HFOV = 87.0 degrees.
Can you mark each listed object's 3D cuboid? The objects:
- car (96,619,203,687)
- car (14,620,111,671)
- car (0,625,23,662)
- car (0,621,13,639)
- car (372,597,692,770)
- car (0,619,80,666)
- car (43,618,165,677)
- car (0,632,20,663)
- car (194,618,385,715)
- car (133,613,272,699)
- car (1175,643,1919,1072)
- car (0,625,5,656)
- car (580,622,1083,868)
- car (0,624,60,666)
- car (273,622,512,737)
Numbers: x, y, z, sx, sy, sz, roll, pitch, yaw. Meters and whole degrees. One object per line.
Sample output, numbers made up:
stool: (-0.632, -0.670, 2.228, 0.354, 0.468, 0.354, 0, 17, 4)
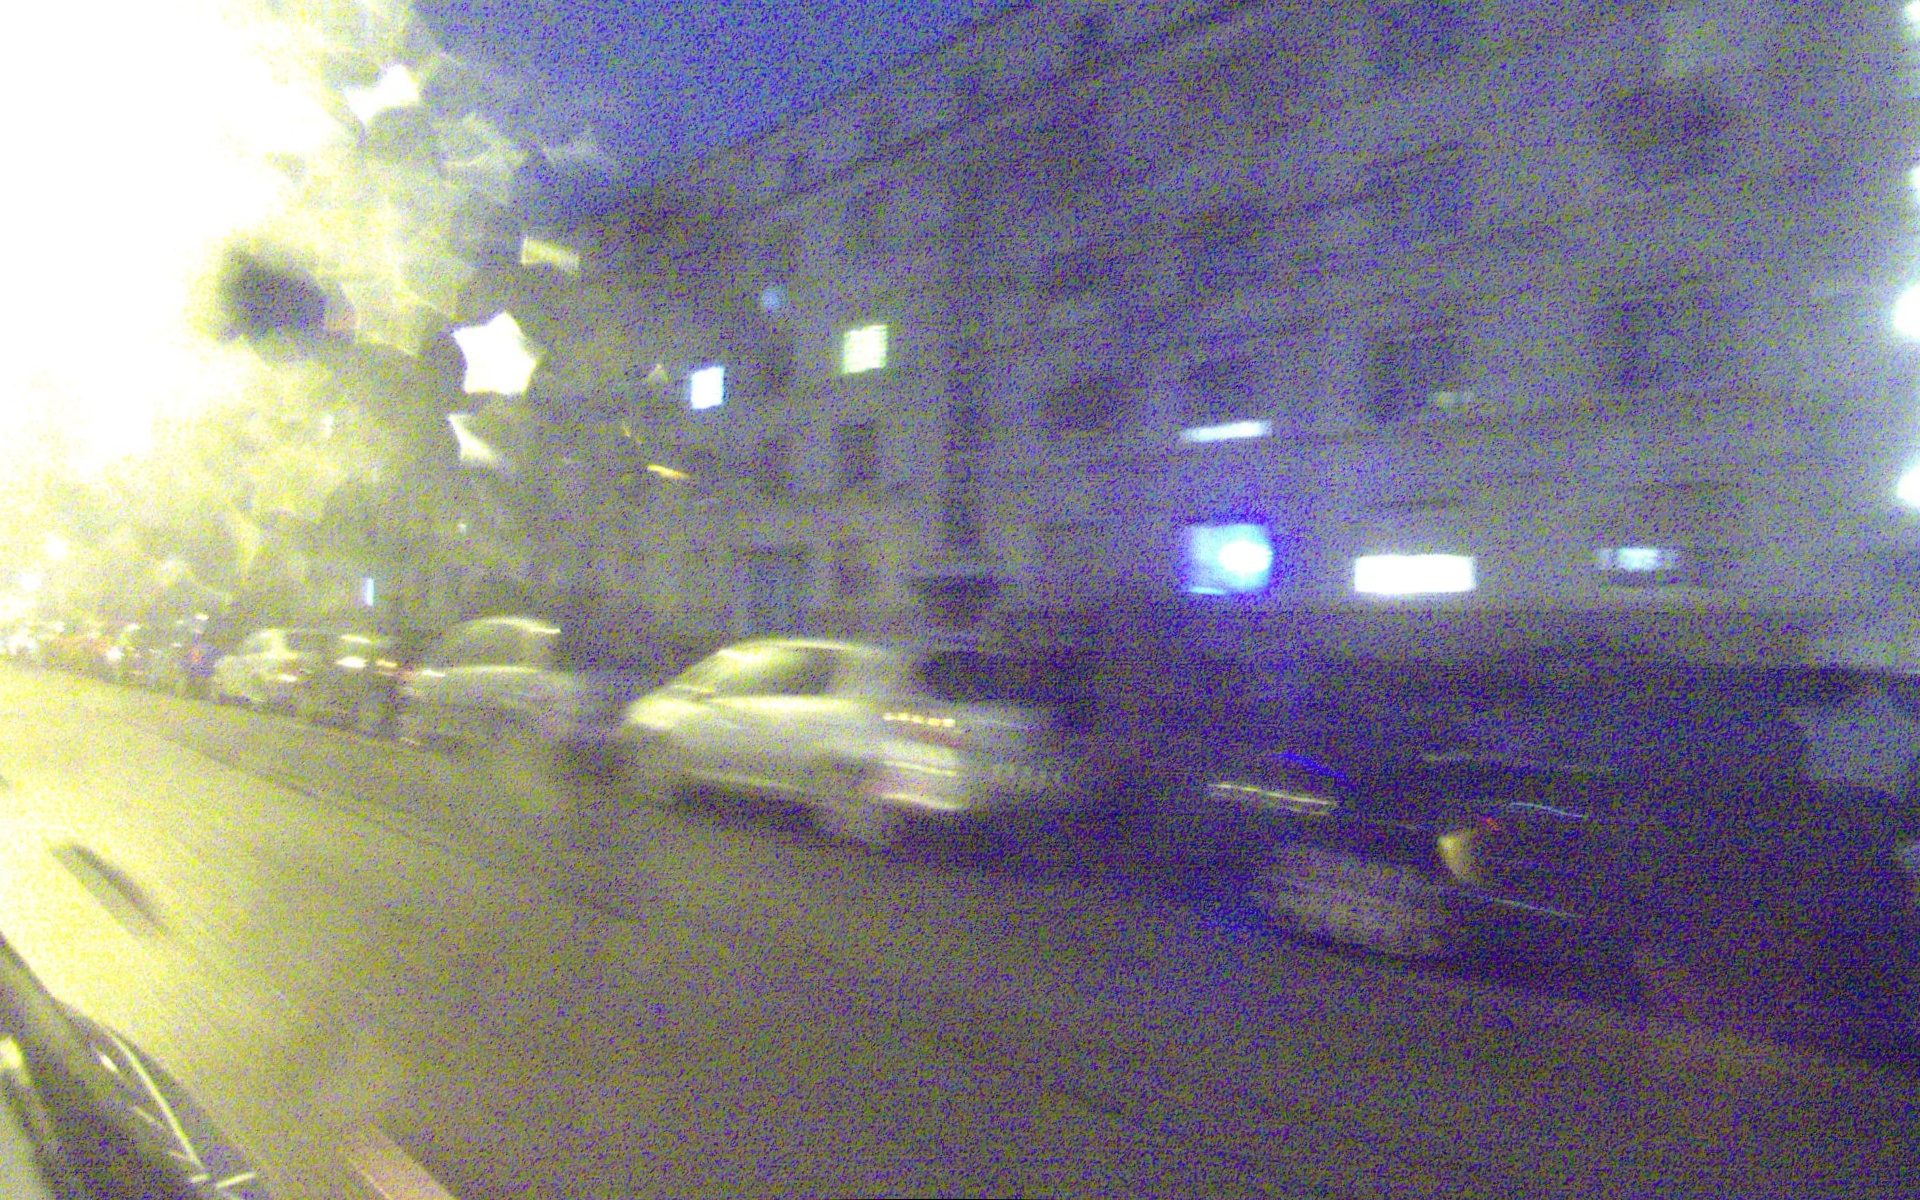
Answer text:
car: (-19.596, 1.268, 24.430, 3.374, 1.471, 1.416, -1, -6, 43)
car: (-29.876, 1.497, 33.651, 4.387, 1.551, 1.649, -1, -6, 40)
car: (-42.350, 1.883, 44.188, 4.390, 1.551, 1.647, -1, -5, 43)
car: (-95.625, 2.819, 98.700, 4.472, 1.719, 1.855, 4, -4, -34)
car: (-5.000, 0.893, 11.540, 4.257, 1.617, 1.581, -1, -6, 42)
car: (-33.808, 1.560, 37.138, 4.389, 1.551, 1.648, -1, -6, 42)
car: (-25.749, 1.408, 30.405, 4.383, 1.610, 1.730, -1, -6, 37)
car: (-46.127, 2.200, 48.008, 4.671, 1.429, 1.603, -1, -4, 40)
car: (-11.986, 1.142, 17.946, 4.934, 1.468, 1.619, -2, -6, 43)
car: (-15.944, 1.162, 21.264, 3.371, 1.632, 1.459, -1, -6, 40)
car: (3.164, 0.957, 4.488, 4.066, 1.384, 1.581, -1, -6, 42)
car: (-50.480, 2.017, 51.981, 4.058, 1.551, 1.688, -1, -6, 43)
car: (-1.237, 0.997, 8.231, 4.273, 1.498, 1.581, -1, -6, 42)
car: (-37.556, 1.774, 40.441, 4.386, 1.551, 1.649, -1, -4, 39)
car: (-8.246, 1.095, 14.584, 4.001, 1.442, 1.582, -1, -6, 40)
